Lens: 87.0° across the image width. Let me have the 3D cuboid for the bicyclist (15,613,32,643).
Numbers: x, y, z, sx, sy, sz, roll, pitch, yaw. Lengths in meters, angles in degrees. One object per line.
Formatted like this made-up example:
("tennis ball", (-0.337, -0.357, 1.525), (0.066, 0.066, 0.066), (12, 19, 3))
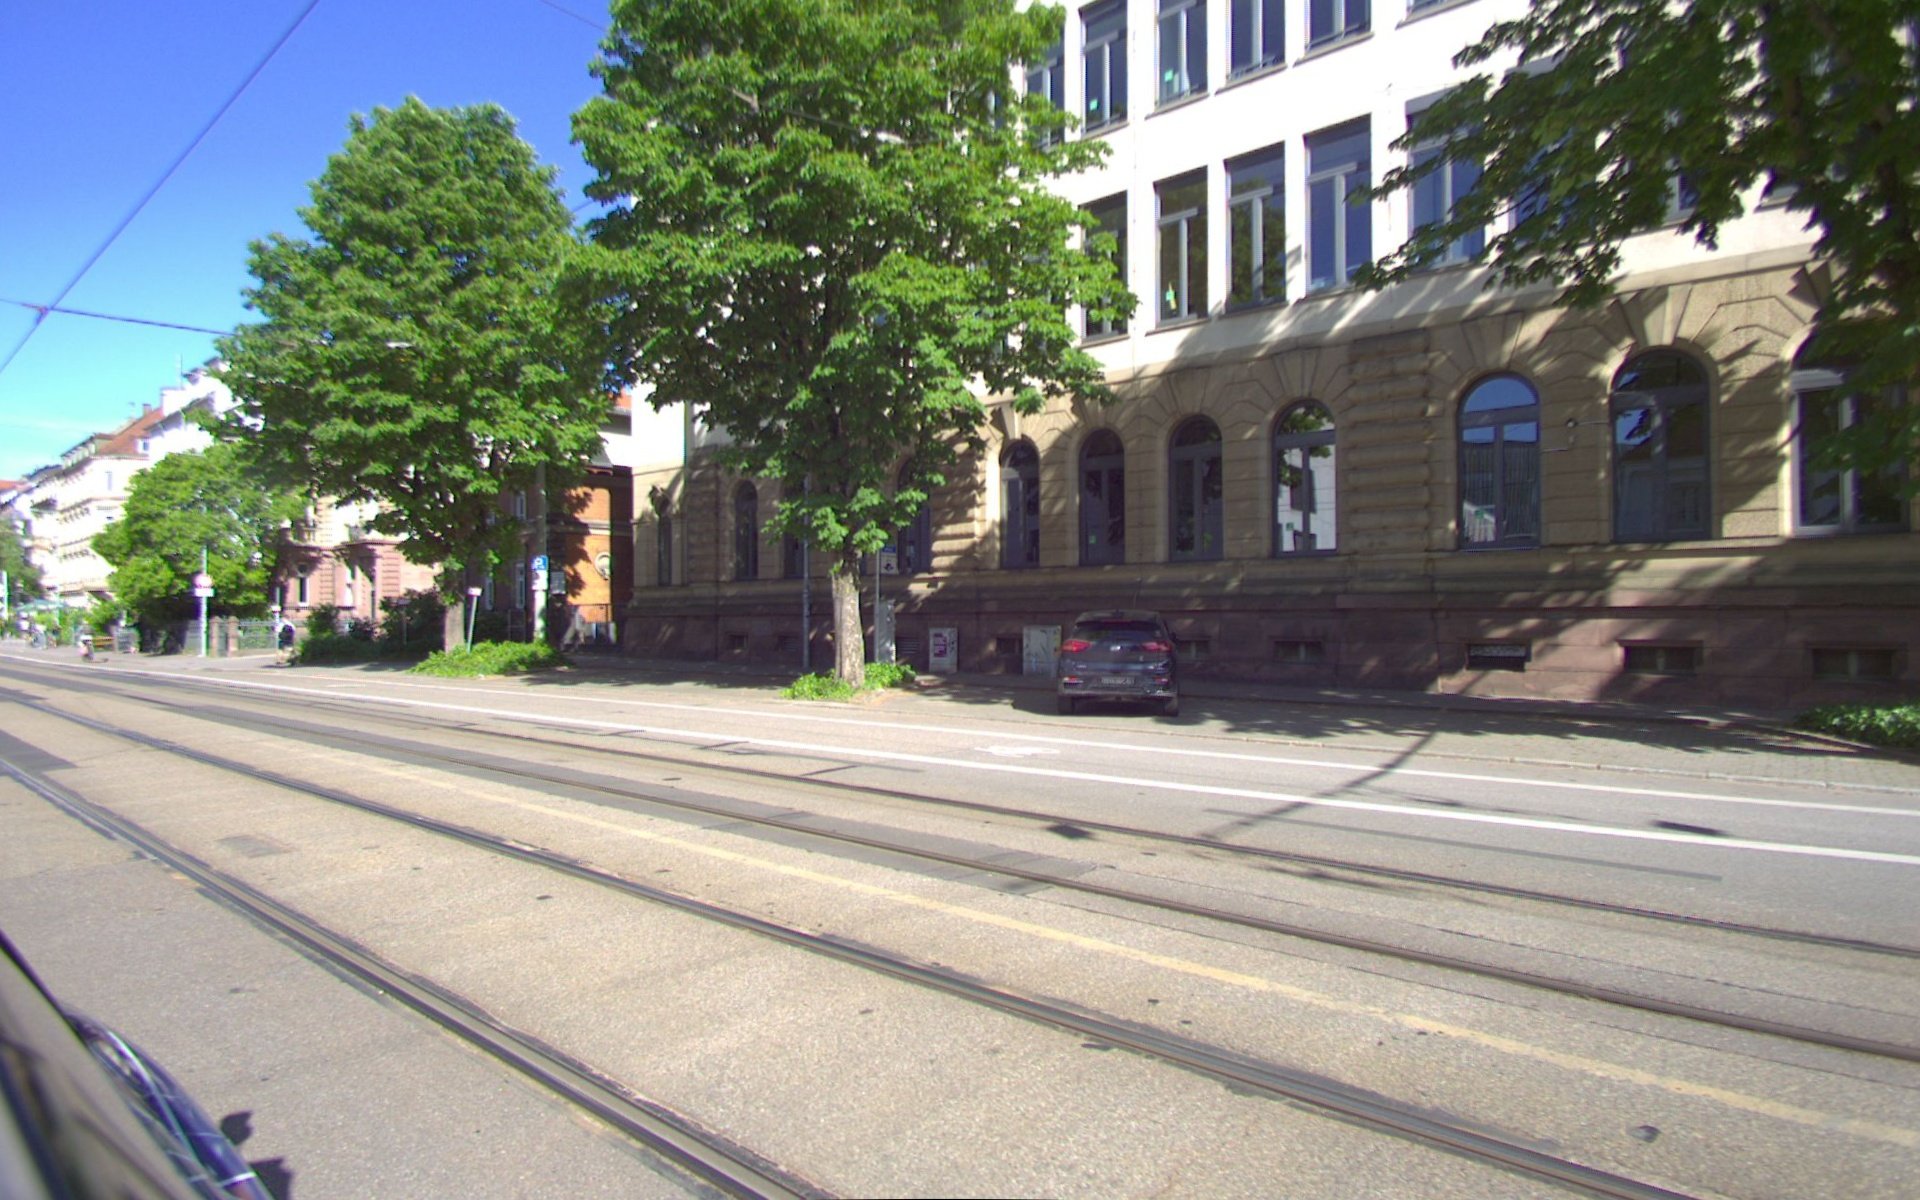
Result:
("bicyclist", (-59.119, 1.763, 63.896), (0.695, 1.868, 0.988), (1, 0, -37))

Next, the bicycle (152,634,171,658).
("bicycle", (-37.889, 2.168, 48.004), (0.582, 1.053, 1.907), (-1, 0, -42))

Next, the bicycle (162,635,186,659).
("bicycle", (-36.126, 2.162, 46.503), (1.905, 1.053, 0.583), (-1, 0, 43))

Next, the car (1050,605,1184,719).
("car", (2.612, 0.883, 16.218), (1.858, 1.561, 3.984), (-1, 0, 12))

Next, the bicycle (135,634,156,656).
("bicycle", (-40.649, 2.230, 50.537), (0.628, 1.053, 2.027), (0, -1, -33))

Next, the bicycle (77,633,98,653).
("bicycle", (-49.357, 2.451, 57.242), (1.742, 1.067, 0.632), (-1, 1, 41))

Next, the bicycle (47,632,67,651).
("bicycle", (-57.690, 2.629, 64.663), (1.839, 1.097, 0.654), (0, 2, 41))

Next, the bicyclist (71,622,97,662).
("bicyclist", (-37.172, 1.791, 42.949), (1.238, 1.657, 0.679), (-1, -3, 44))

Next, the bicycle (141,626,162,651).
("bicycle", (-39.601, 1.890, 49.567), (0.638, 1.152, 1.907), (-2, 1, -42))

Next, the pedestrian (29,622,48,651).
("pedestrian", (-56.610, 2.225, 62.142), (0.808, 1.727, 0.747), (-1, 0, 40))

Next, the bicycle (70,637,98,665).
("bicycle", (-37.164, 2.147, 42.919), (1.932, 1.133, 0.679), (-1, -3, 44))

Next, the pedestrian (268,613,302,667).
("pedestrian", (-23.640, 1.396, 35.442), (0.779, 1.810, 0.723), (-1, 1, 37))

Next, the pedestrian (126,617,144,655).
("pedestrian", (-40.908, 1.783, 50.192), (0.567, 1.845, 0.691), (0, -1, -31))

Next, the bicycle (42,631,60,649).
("bicycle", (-59.272, 2.599, 65.983), (1.839, 1.097, 0.654), (0, 2, 41))

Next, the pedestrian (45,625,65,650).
("pedestrian", (-55.995, 2.315, 62.612), (0.956, 1.489, 0.747), (-1, 0, 41))

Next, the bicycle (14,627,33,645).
("bicycle", (-59.120, 2.247, 63.888), (0.695, 1.063, 1.839), (1, 0, -37))

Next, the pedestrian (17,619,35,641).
("pedestrian", (-75.238, 2.423, 81.491), (0.683, 1.781, 0.868), (0, -1, -8))
